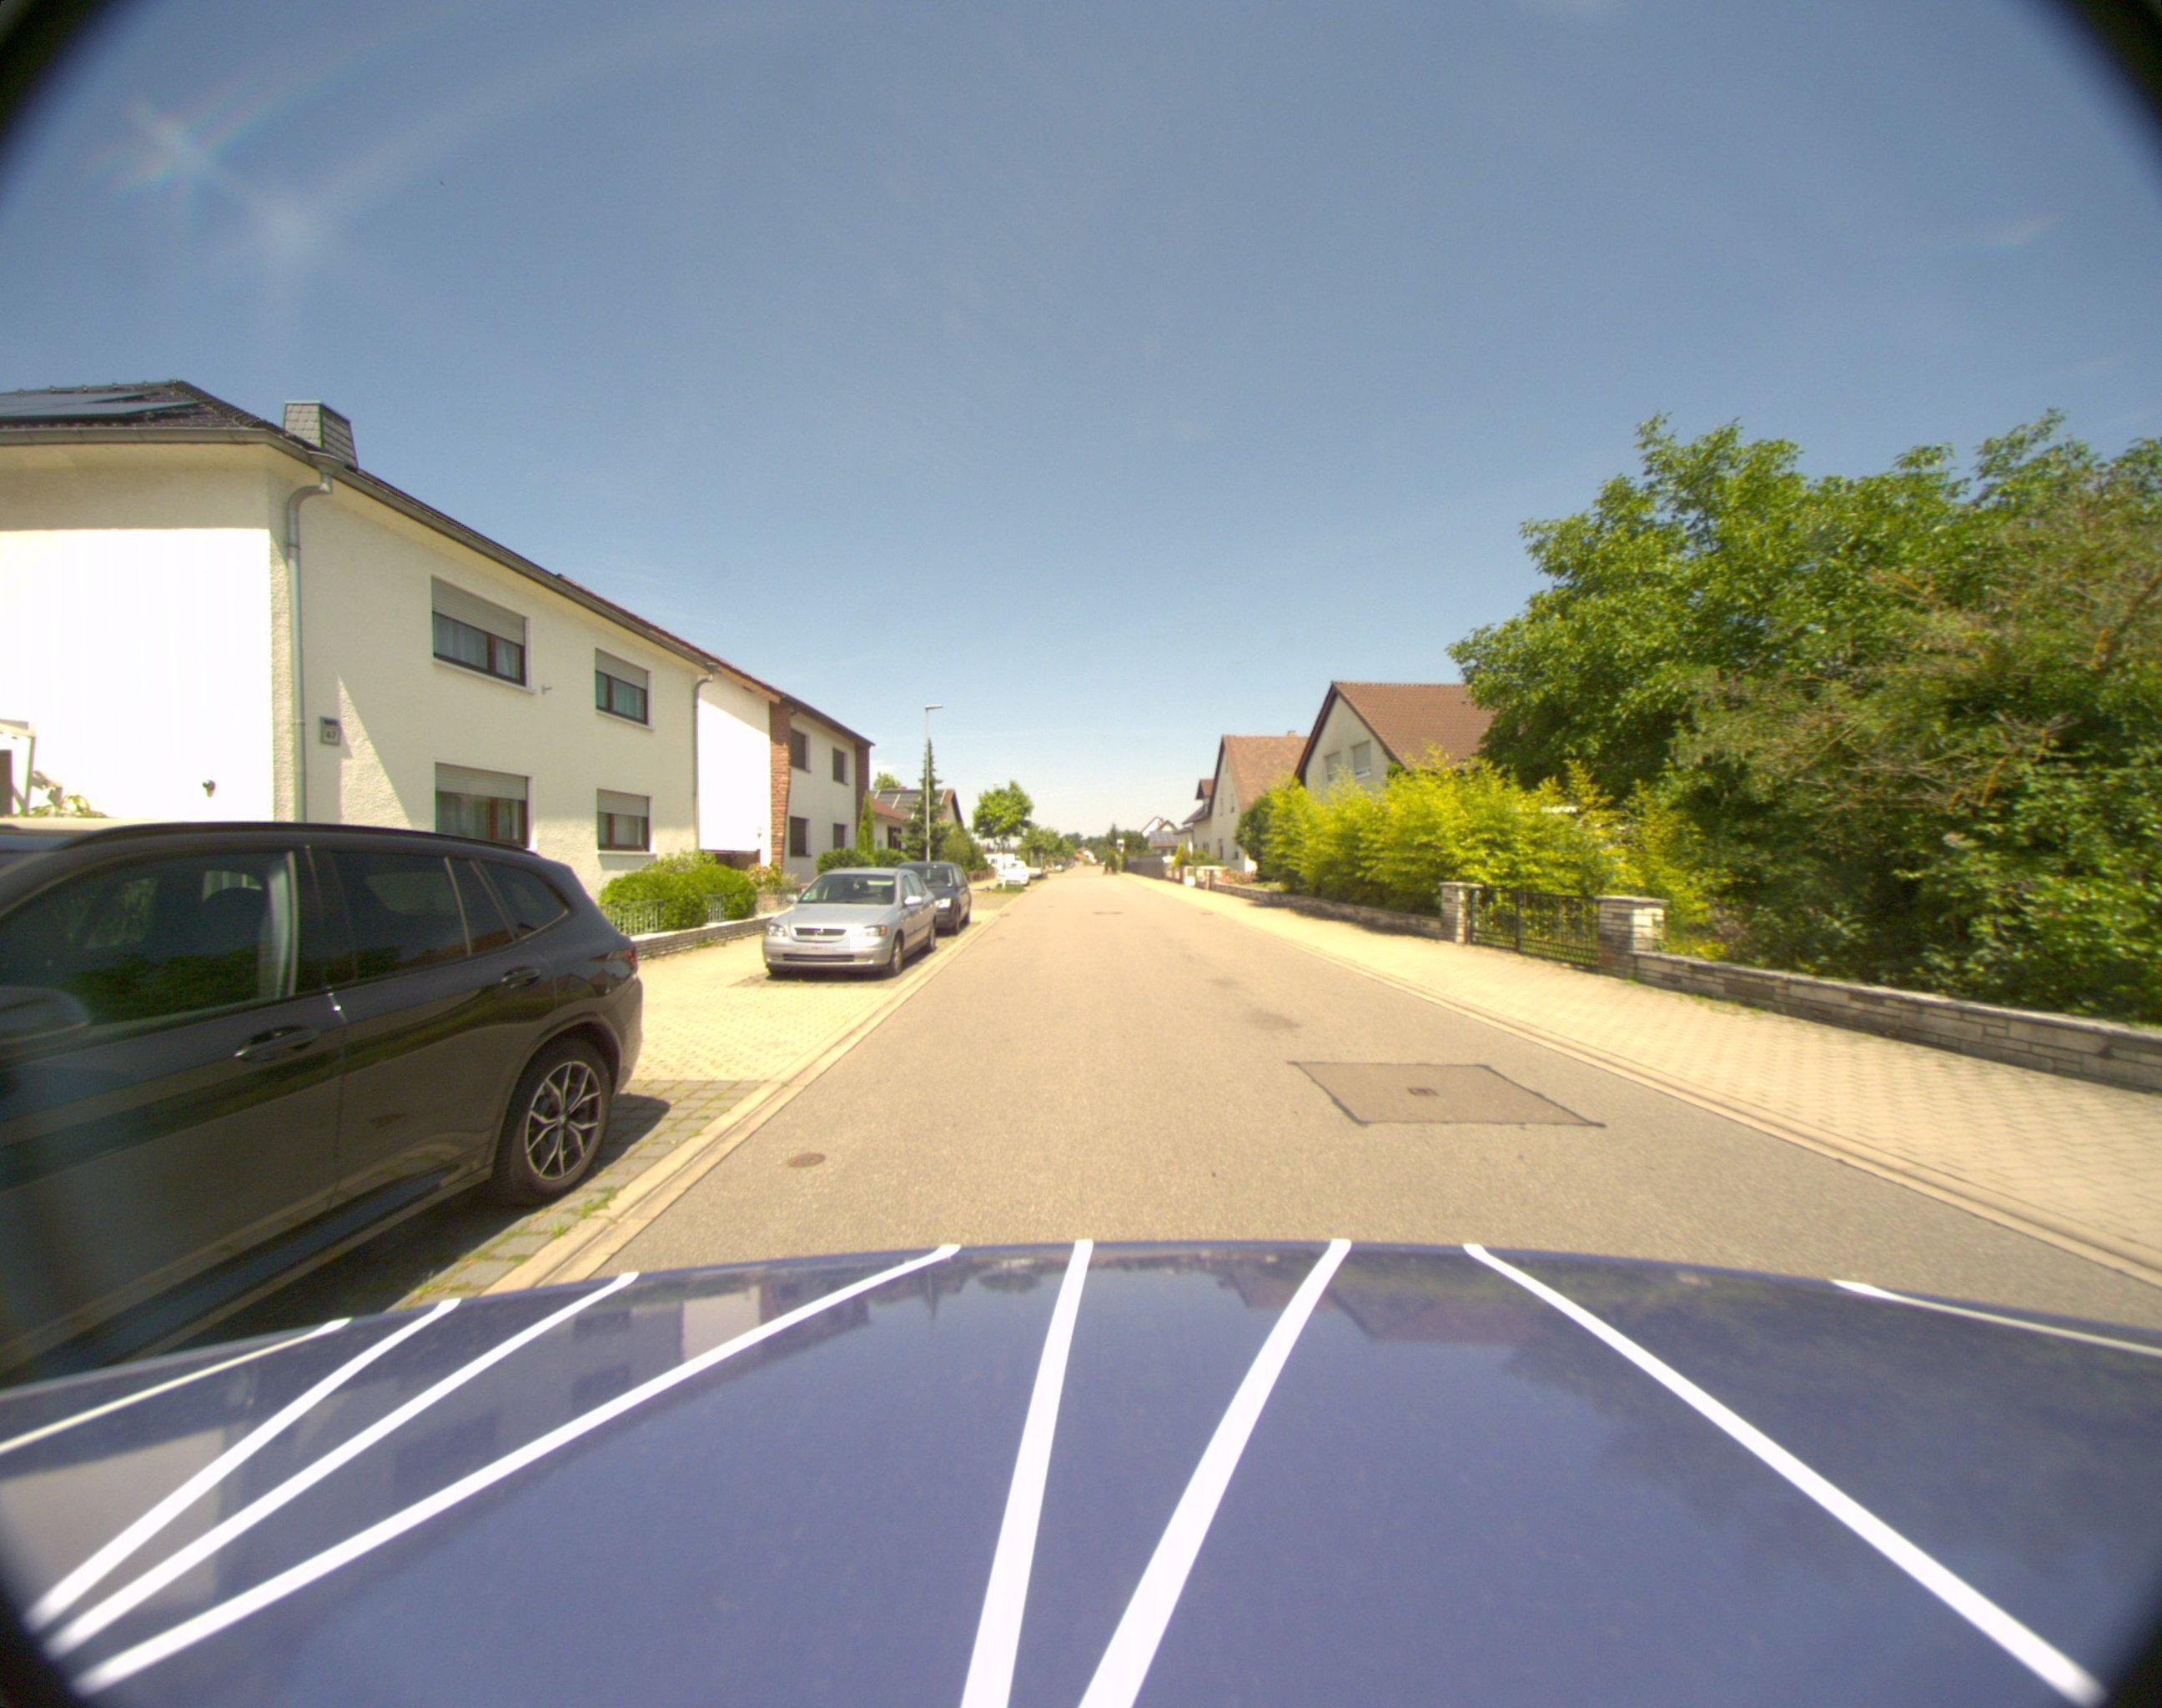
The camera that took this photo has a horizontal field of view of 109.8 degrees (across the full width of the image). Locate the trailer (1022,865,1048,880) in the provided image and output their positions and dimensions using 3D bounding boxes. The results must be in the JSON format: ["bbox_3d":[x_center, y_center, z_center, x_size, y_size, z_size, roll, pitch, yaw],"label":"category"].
[{"bbox_3d":[-3.541,1.414,59.000,1.792,1.052,2.899,-1,0,0],"label":"trailer"}]

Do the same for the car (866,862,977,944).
[{"bbox_3d":[-3.378,0.974,16.903,1.746,1.524,4.447,-1,0,-3],"label":"car"}]

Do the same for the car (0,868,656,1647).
[{"bbox_3d":[-3.224,0.880,1.858,1.819,1.646,4.564,-1,-1,0],"label":"car"}]

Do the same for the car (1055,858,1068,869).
[{"bbox_3d":[-2.912,1.345,113.046,1.597,1.630,3.803,0,0,3],"label":"car"}]

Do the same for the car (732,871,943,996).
[{"bbox_3d":[-3.307,1.007,11.224,1.819,1.411,4.093,-1,0,0],"label":"car"}]

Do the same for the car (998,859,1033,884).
[{"bbox_3d":[-3.761,0.985,44.176,1.819,1.411,3.867,-1,0,-1],"label":"car"}]
